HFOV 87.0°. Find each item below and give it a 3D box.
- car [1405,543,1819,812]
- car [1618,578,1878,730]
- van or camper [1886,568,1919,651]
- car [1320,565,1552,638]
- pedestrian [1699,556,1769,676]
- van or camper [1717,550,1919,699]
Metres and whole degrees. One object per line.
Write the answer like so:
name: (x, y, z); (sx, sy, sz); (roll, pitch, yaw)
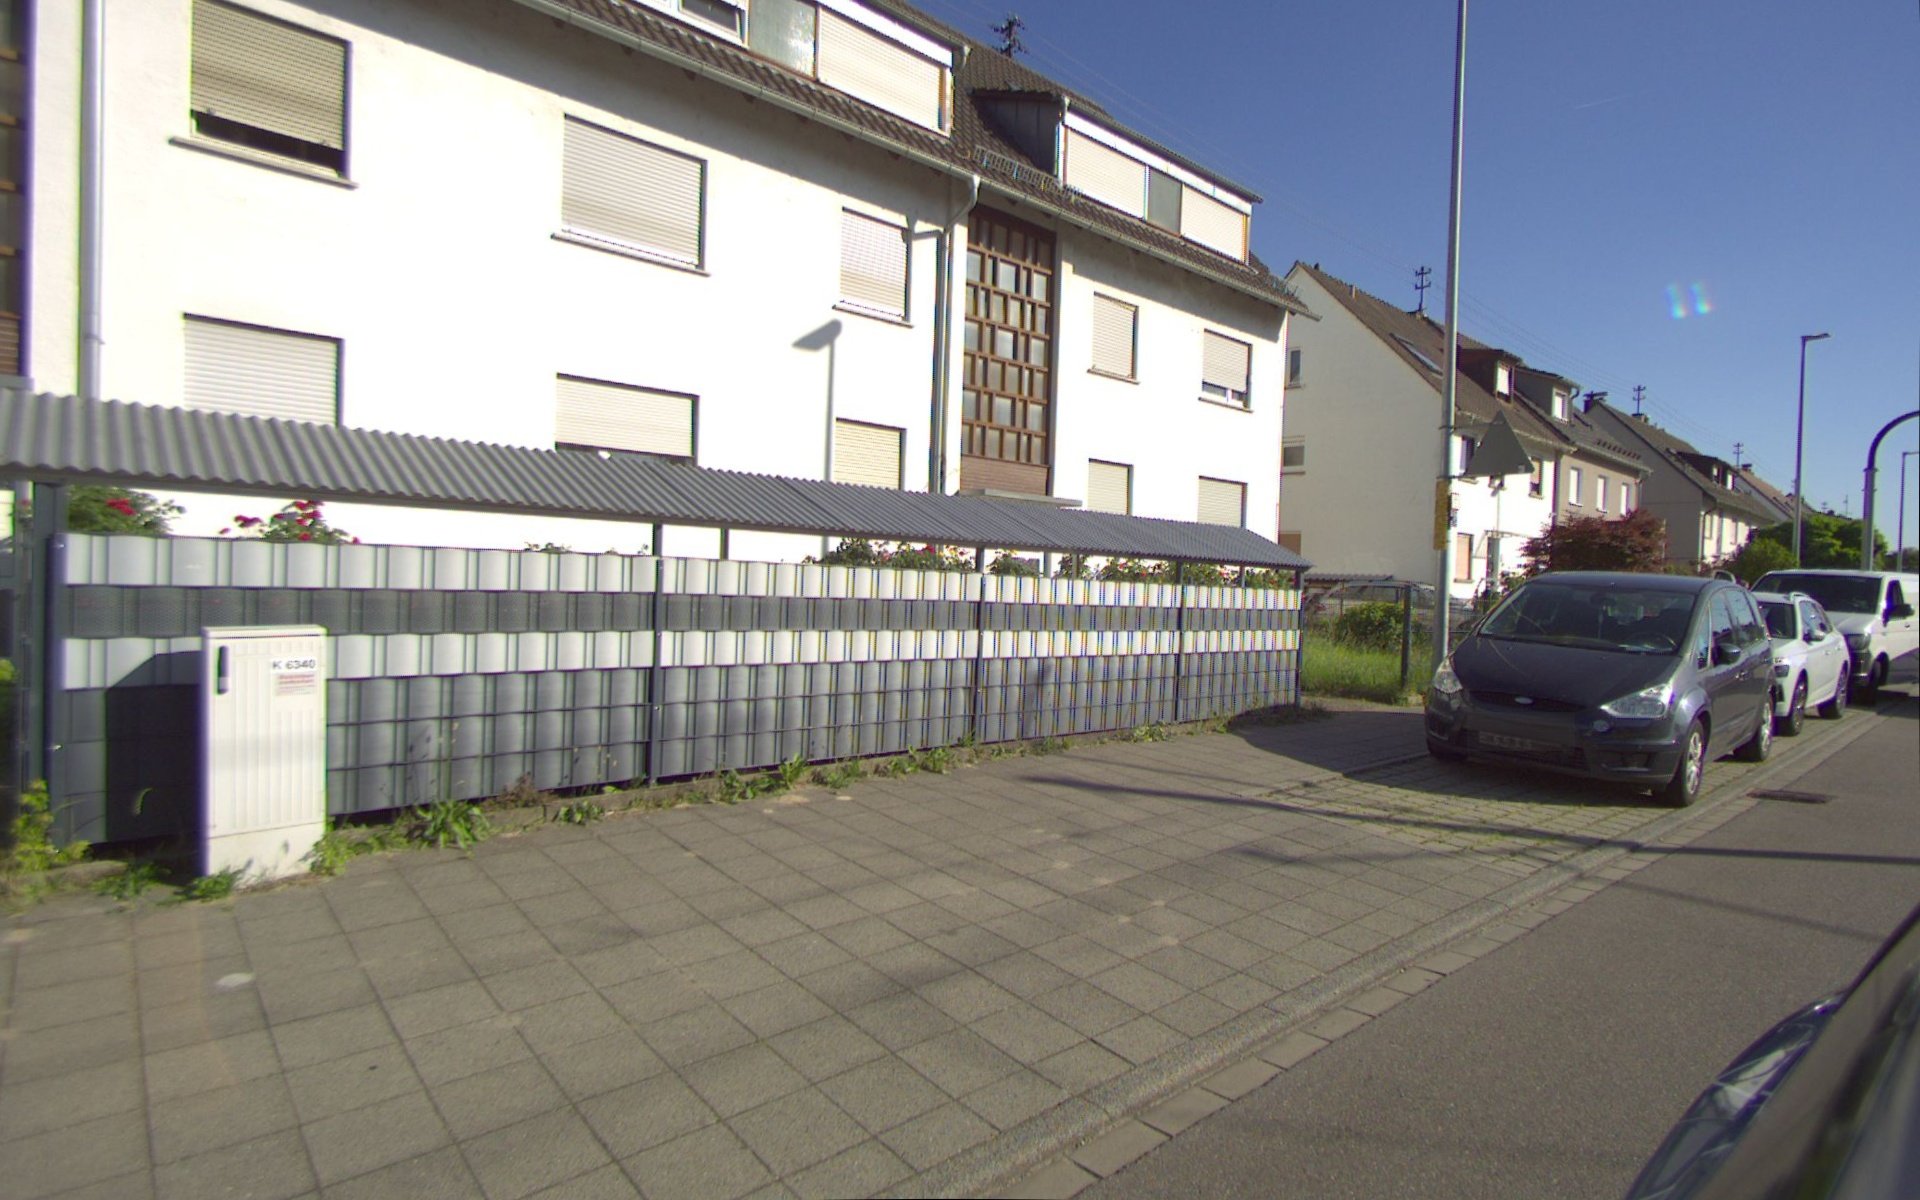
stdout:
car: (5.812, 0.468, 8.726); (4.778, 1.648, 1.794); (0, 4, -43)
car: (9.709, 0.538, 12.361); (4.086, 1.511, 1.660); (0, 3, -40)
van or camper: (29.418, 0.288, 30.139); (6.196, 2.298, 1.997); (0, 4, -42)
car: (11.393, -0.046, 24.494); (1.875, 1.495, 4.718); (-1, 3, -43)
pedestrian: (12.862, 0.252, 16.819); (0.744, 1.936, 0.701); (0, 0, -33)
van or camper: (14.168, 0.320, 15.960); (5.194, 1.980, 2.035); (1, 2, -36)
